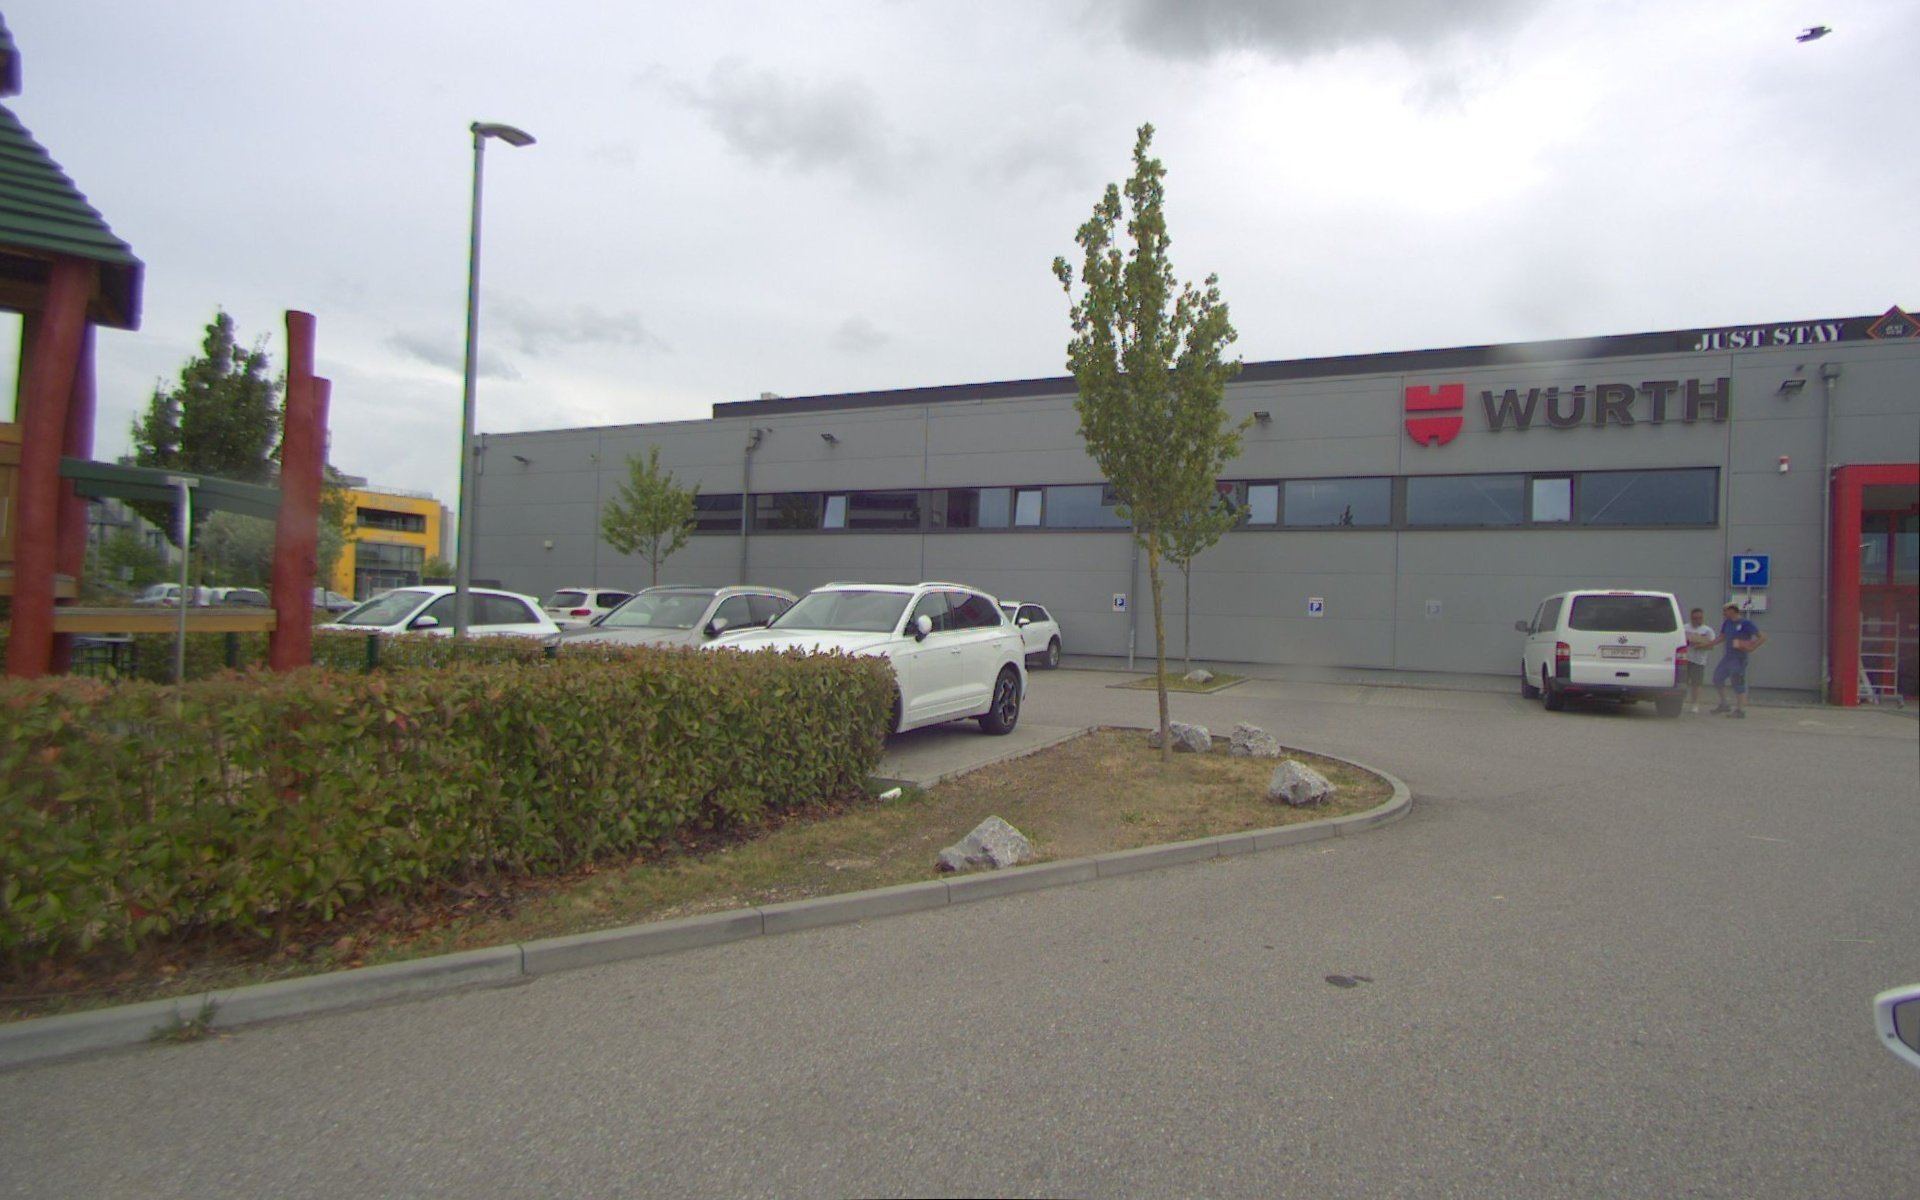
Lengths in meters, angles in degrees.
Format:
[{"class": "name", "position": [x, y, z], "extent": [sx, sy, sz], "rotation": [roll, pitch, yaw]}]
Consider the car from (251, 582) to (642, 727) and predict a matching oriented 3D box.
[{"class": "car", "position": [-6.876, 0.711, 14.053], "extent": [1.963, 1.672, 4.572], "rotation": [0, -2, 27]}]

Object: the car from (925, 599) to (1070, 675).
[{"class": "car", "position": [0.984, 0.858, 23.241], "extent": [1.710, 1.572, 4.259], "rotation": [0, -2, 27]}]

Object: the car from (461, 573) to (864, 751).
[{"class": "car", "position": [-3.221, 0.666, 11.947], "extent": [1.963, 1.672, 4.572], "rotation": [0, -2, 27]}]

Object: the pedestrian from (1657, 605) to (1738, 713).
[{"class": "pedestrian", "position": [12.515, 0.986, 17.065], "extent": [0.887, 1.775, 0.626], "rotation": [1, 0, 0]}]

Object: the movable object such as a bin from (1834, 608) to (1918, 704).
[{"class": "movable object such as a bin", "position": [16.707, 1.017, 18.345], "extent": [0.896, 1.694, 0.742], "rotation": [-2, -2, 26]}]

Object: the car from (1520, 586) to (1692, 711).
[{"class": "car", "position": [10.958, 0.805, 17.352], "extent": [2.023, 1.880, 4.058], "rotation": [0, -2, 26]}]

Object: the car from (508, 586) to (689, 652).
[{"class": "car", "position": [-9.882, 0.560, 27.912], "extent": [1.962, 1.660, 4.803], "rotation": [0, -2, 23]}]

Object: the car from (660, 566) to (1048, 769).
[{"class": "car", "position": [-0.833, 0.645, 10.803], "extent": [1.963, 1.672, 4.572], "rotation": [0, -2, 27]}]

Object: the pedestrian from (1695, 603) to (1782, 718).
[{"class": "pedestrian", "position": [12.669, 0.969, 16.365], "extent": [0.863, 1.826, 0.679], "rotation": [1, 0, 0]}]
